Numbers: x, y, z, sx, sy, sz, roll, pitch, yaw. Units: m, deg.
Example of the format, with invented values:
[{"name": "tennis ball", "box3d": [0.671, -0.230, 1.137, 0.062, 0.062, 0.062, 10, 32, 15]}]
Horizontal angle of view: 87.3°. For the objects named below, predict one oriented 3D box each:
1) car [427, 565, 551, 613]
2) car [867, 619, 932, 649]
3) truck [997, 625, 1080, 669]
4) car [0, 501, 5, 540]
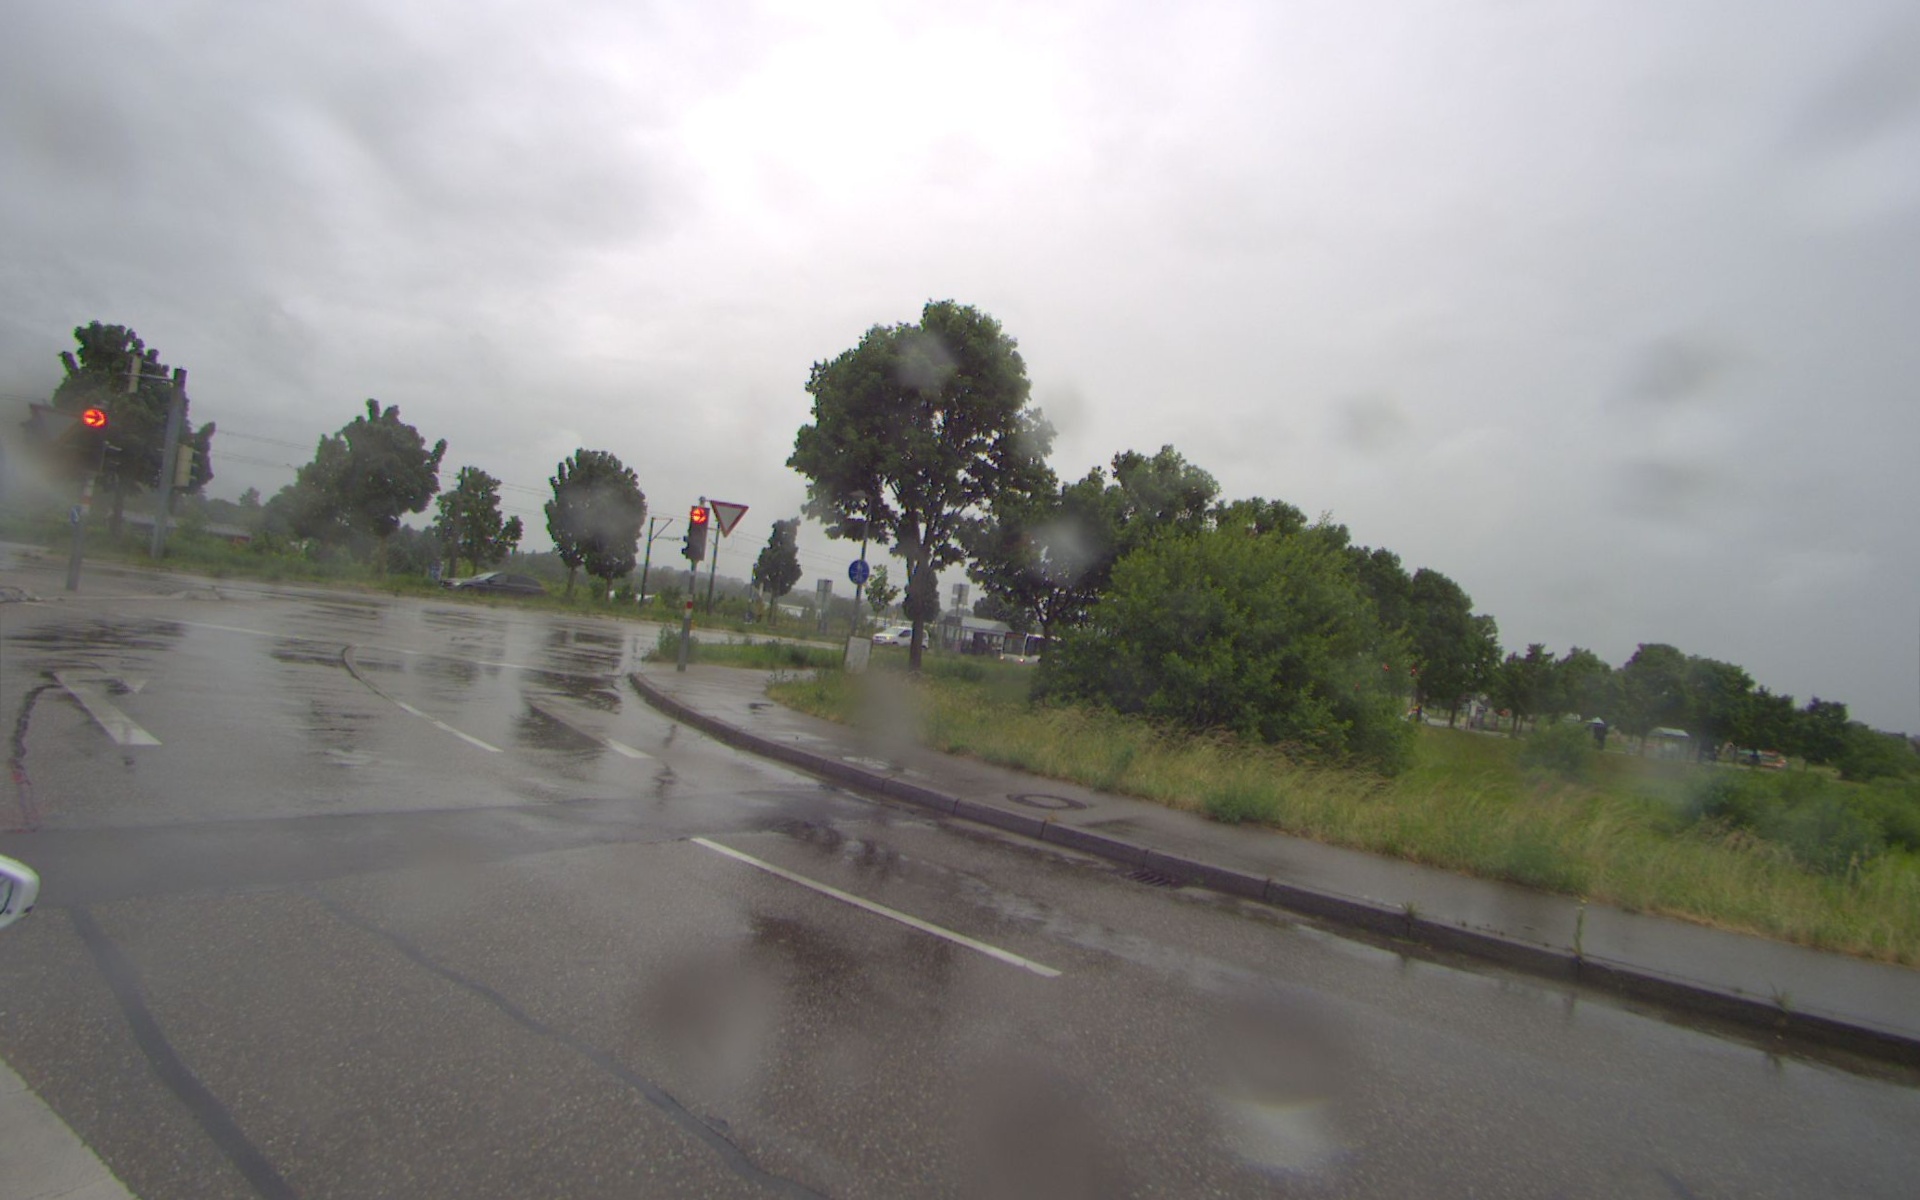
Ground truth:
[{"name": "car", "box3d": [-21.267, -0.468, 45.578, 1.796, 1.572, 4.668, 7, -1, 39]}, {"name": "car", "box3d": [-4.123, 2.345, 69.333, 1.798, 1.572, 4.327, 7, -1, 43]}, {"name": "truck", "box3d": [7.048, 4.221, 88.835, 2.616, 2.864, 8.823, 7, -2, 37]}, {"name": "car", "box3d": [-32.678, -2.675, 30.759, 1.793, 1.572, 4.674, 7, -1, 34]}]
